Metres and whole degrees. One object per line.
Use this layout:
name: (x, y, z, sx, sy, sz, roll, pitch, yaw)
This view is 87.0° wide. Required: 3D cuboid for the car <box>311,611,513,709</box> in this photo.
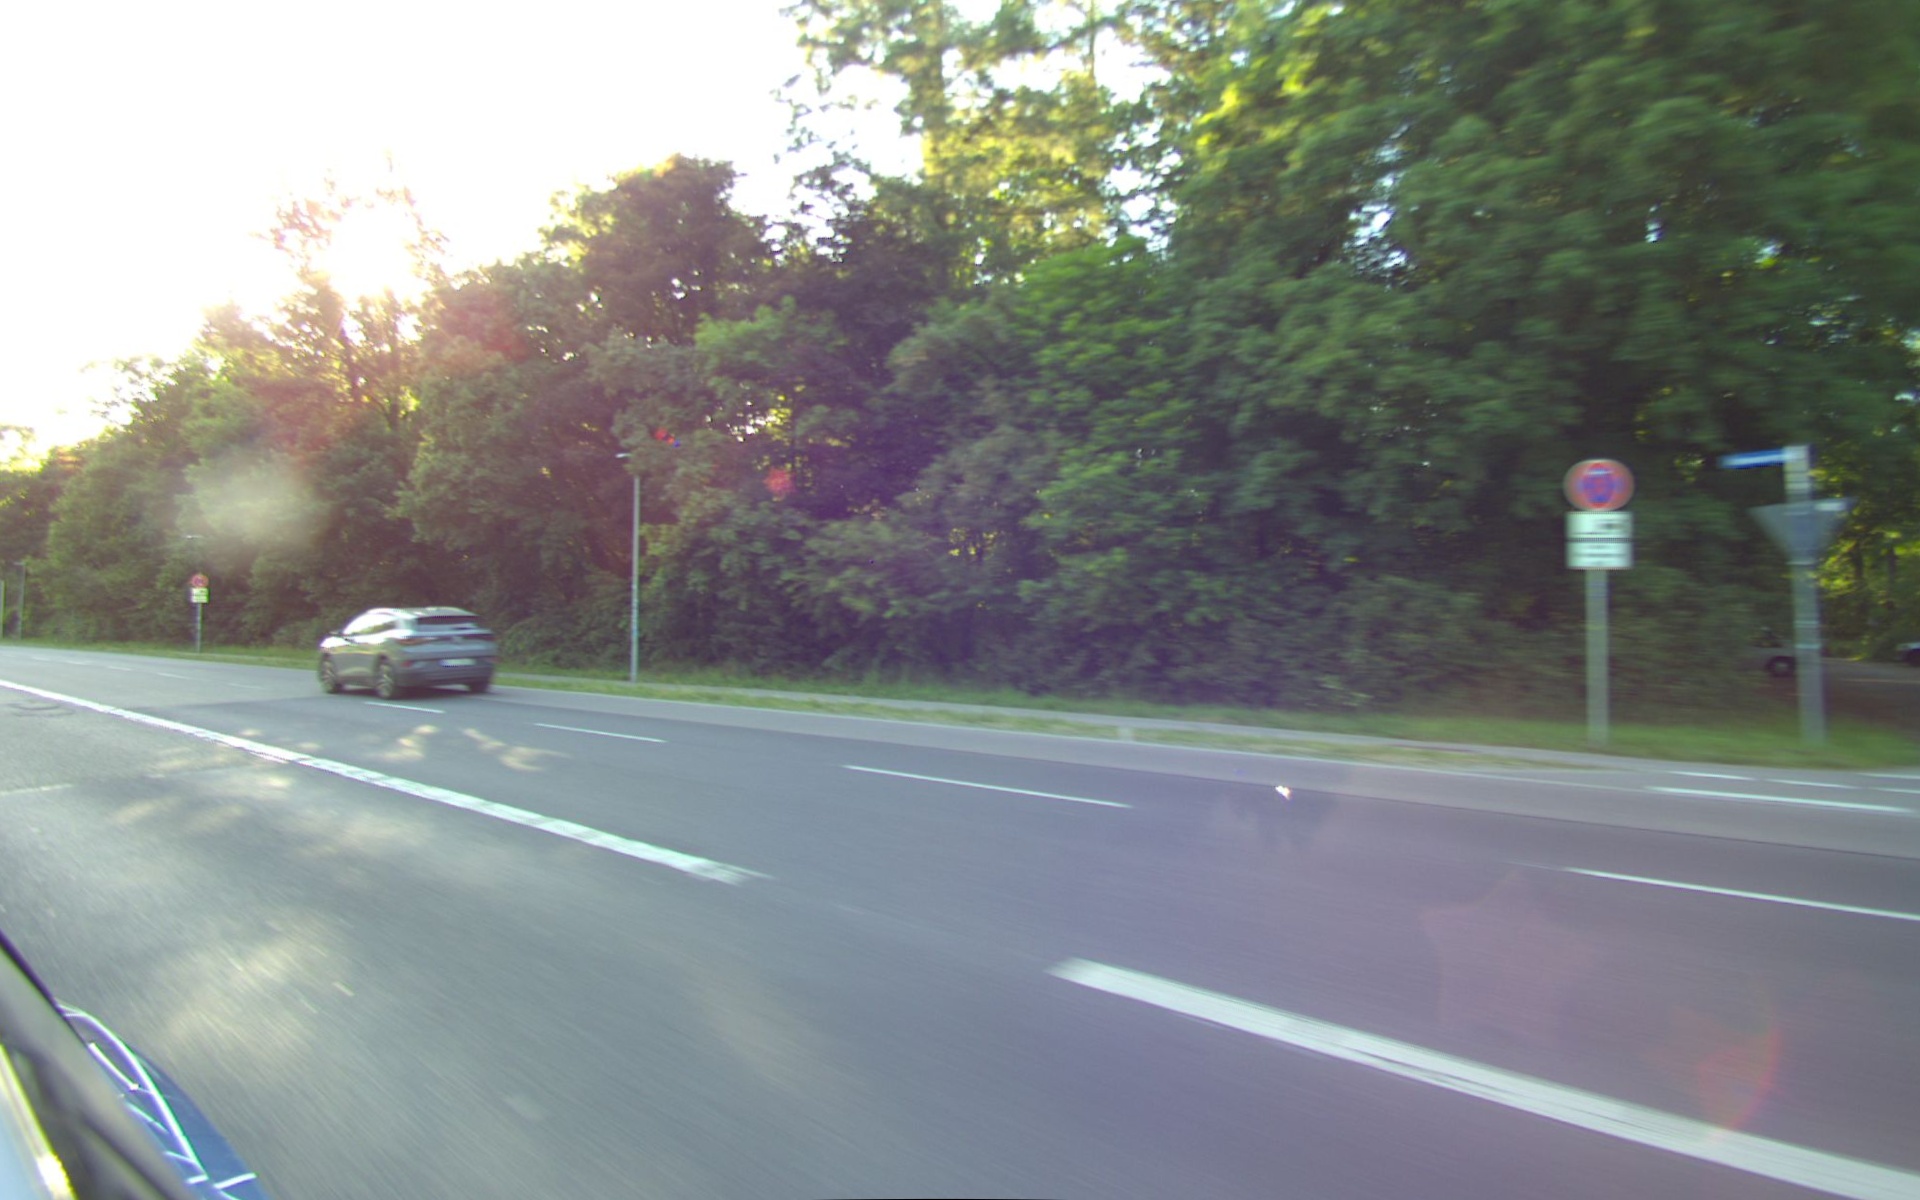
car: (-10.443, 1.062, 19.139, 4.446, 1.623, 1.877, -2, -1, 40)
